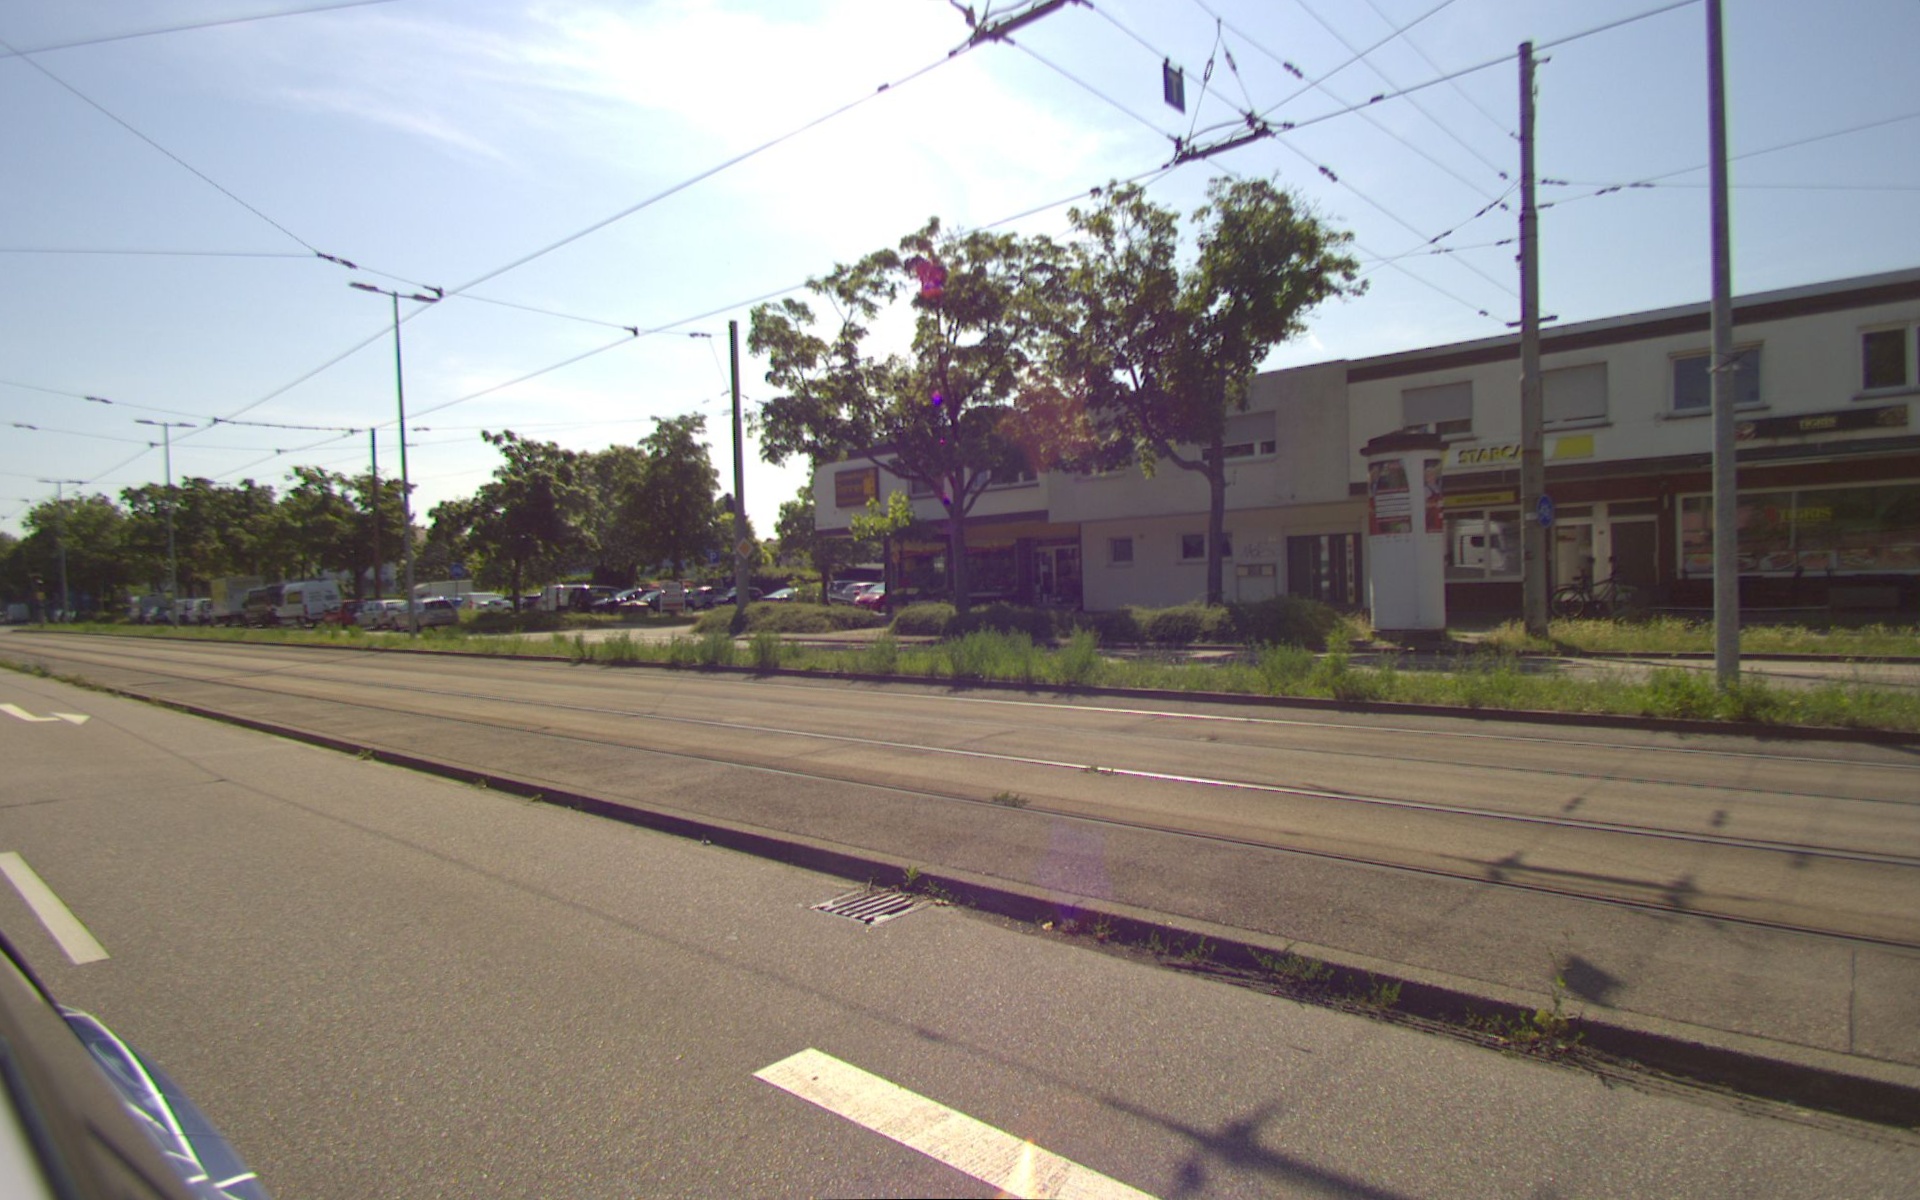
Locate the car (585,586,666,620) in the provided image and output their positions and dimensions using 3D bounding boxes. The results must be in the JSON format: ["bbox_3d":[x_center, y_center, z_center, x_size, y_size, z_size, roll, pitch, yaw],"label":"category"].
[{"bbox_3d":[-17.956,0.141,54.434,1.676,1.646,3.761,-1,1,42],"label":"car"}]

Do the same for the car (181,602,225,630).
[{"bbox_3d":[-54.735,1.156,73.163,4.631,1.817,1.483,-1,4,41],"label":"car"}]

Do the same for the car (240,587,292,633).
[{"bbox_3d":[-42.280,0.618,61.597,4.005,2.643,1.483,-1,4,41],"label":"car"}]

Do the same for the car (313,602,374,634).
[{"bbox_3d":[-33.150,0.951,54.371,3.791,1.544,1.654,-1,4,41],"label":"car"}]

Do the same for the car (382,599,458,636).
[{"bbox_3d":[-25.293,0.832,47.387,4.255,1.544,1.654,-1,4,41],"label":"car"}]

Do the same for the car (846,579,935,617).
[{"bbox_3d":[-3.240,-0.118,47.986,1.676,1.616,4.197,-1,1,42],"label":"car"}]

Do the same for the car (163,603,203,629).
[{"bbox_3d":[-59.741,1.259,77.828,4.056,1.859,1.484,-1,4,40],"label":"car"}]

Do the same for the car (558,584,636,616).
[{"bbox_3d":[-20.210,-0.004,56.450,1.676,1.646,3.761,-1,1,42],"label":"car"}]

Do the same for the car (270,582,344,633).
[{"bbox_3d":[-37.249,0.444,57.653,5.201,2.673,2.036,-1,4,41],"label":"car"}]

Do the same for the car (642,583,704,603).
[{"bbox_3d":[-21.098,-0.511,74.568,1.674,1.345,4.201,-1,1,39],"label":"car"}]

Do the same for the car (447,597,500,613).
[{"bbox_3d":[-45.931,0.429,95.639,1.676,1.345,4.198,-1,1,41],"label":"car"}]

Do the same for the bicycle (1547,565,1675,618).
[{"bbox_3d":[14.691,-0.170,22.894,2.333,1.161,0.779,-1,-1,42],"label":"bicycle"}]

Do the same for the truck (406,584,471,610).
[{"bbox_3d":[-53.097,-0.308,103.103,1.988,2.398,5.584,-1,1,38],"label":"truck"}]

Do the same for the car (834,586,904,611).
[{"bbox_3d":[-5.510,-0.090,61.716,1.676,1.345,4.197,-1,1,42],"label":"car"}]

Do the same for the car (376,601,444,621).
[{"bbox_3d":[-42.062,0.814,77.437,1.676,1.345,4.198,-1,1,41],"label":"car"}]

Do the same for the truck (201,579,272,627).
[{"bbox_3d":[-48.348,0.215,67.588,5.902,2.956,2.476,-1,4,42],"label":"truck"}]

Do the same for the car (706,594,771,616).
[{"bbox_3d":[-15.205,0.348,69.658,1.676,1.345,4.197,-1,1,42],"label":"car"}]

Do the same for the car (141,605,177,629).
[{"bbox_3d":[-64.401,1.388,81.368,3.685,1.799,1.484,-1,4,40],"label":"car"}]

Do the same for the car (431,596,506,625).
[{"bbox_3d":[-33.294,0.709,68.422,5.739,1.825,2.560,-1,1,42],"label":"car"}]

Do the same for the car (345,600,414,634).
[{"bbox_3d":[-29.303,0.865,51.031,4.255,1.544,1.654,-1,4,41],"label":"car"}]

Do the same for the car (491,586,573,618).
[{"bbox_3d":[-25.901,0.110,61.344,1.988,1.751,4.068,-1,1,38],"label":"car"}]

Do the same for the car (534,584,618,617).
[{"bbox_3d":[-22.058,-0.003,58.188,1.988,1.751,4.068,-1,1,38],"label":"car"}]

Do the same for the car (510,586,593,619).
[{"bbox_3d":[-24.033,0.133,59.670,1.988,1.751,4.068,-1,1,38],"label":"car"}]

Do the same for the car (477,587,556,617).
[{"bbox_3d":[-28.020,0.094,64.002,1.988,1.751,4.068,-1,1,38],"label":"car"}]

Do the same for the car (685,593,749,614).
[{"bbox_3d":[-17.170,0.248,71.583,1.676,1.345,4.197,-1,1,42],"label":"car"}]
